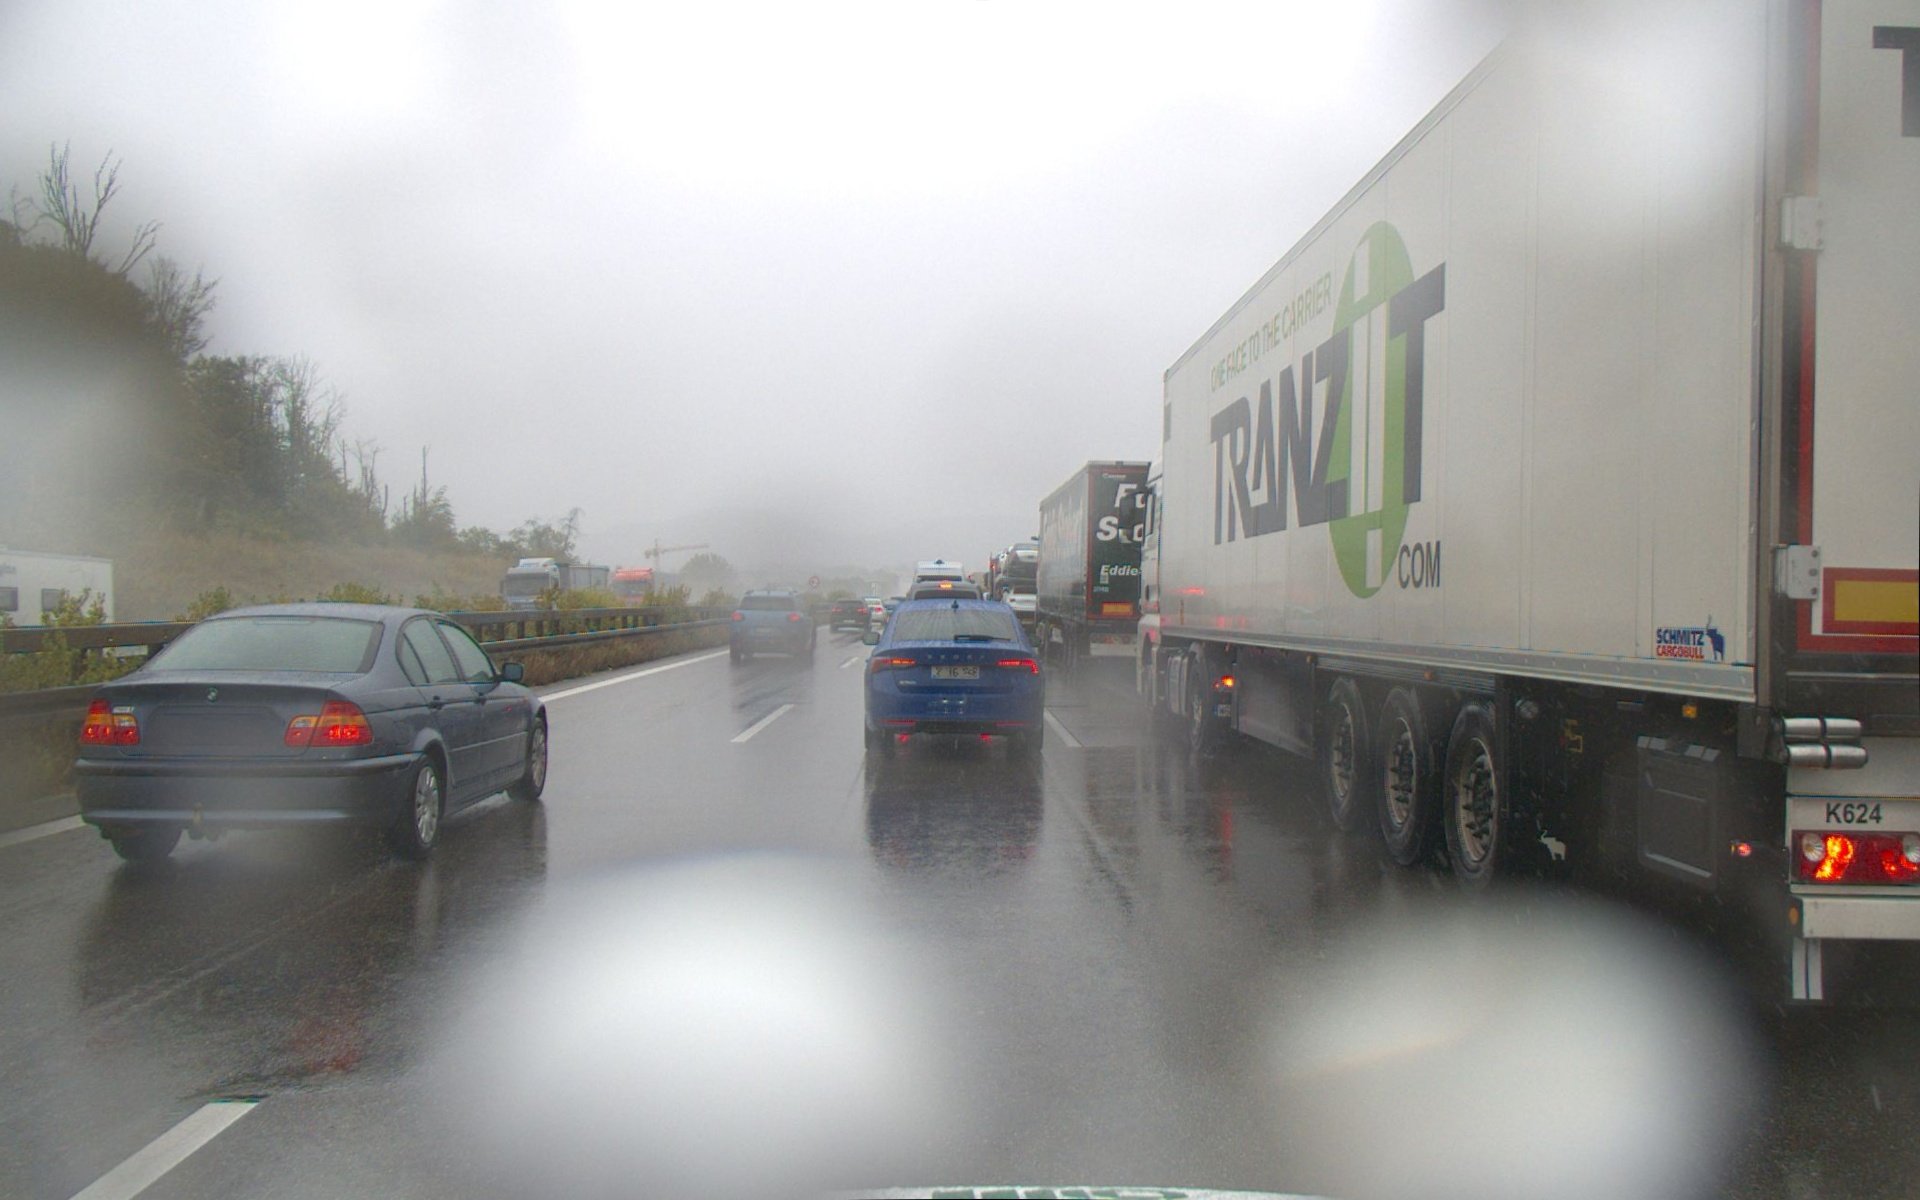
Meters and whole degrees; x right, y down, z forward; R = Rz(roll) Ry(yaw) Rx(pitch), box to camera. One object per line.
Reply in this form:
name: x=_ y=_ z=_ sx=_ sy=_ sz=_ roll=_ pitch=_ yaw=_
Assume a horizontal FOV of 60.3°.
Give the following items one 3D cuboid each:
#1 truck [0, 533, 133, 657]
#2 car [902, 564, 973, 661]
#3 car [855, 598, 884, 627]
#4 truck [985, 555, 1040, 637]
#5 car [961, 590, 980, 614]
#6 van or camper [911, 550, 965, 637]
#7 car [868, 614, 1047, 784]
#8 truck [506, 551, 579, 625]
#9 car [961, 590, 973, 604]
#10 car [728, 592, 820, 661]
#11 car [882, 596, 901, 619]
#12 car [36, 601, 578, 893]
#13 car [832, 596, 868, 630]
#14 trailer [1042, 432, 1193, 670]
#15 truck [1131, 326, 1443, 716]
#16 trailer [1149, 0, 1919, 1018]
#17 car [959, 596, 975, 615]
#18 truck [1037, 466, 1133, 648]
truck: x=-20.934 y=-0.119 z=35.503 sx=2.597 sy=2.524 sz=7.889 roll=1 pitch=0 yaw=-2
car: x=-0.438 y=0.220 z=32.472 sx=1.309 sy=1.811 sz=3.321 roll=0 pitch=0 yaw=-1
car: x=-4.907 y=0.660 z=90.190 sx=1.410 sy=1.560 sz=3.321 roll=0 pitch=0 yaw=-1
truck: x=2.293 y=-0.235 z=74.636 sx=1.953 sy=3.481 sz=8.029 roll=0 pitch=1 yaw=-2
car: x=0.788 y=0.140 z=126.375 sx=1.419 sy=1.815 sz=3.409 roll=1 pitch=0 yaw=-1
van or camper: x=-0.746 y=-0.230 z=56.417 sx=1.761 sy=2.855 sz=4.767 roll=0 pitch=0 yaw=-1
car: x=-0.021 y=0.907 z=16.839 sx=1.602 sy=1.470 sz=4.000 roll=0 pitch=0 yaw=0
truck: x=-21.359 y=-0.587 z=84.896 sx=2.632 sy=3.674 sz=4.604 roll=1 pitch=0 yaw=-2
car: x=0.924 y=-0.363 z=218.135 sx=1.419 sy=1.815 sz=3.409 roll=1 pitch=0 yaw=-1
car: x=-4.325 y=0.586 z=38.995 sx=1.686 sy=1.550 sz=4.000 roll=0 pitch=0 yaw=0
car: x=-5.499 y=0.596 z=133.471 sx=1.419 sy=1.815 sz=3.409 roll=1 pitch=0 yaw=-1
car: x=-3.726 y=0.732 z=10.322 sx=1.683 sy=1.424 sz=4.230 roll=0 pitch=0 yaw=0
car: x=-4.835 y=0.541 z=72.939 sx=1.410 sy=1.445 sz=3.321 roll=0 pitch=0 yaw=-1
trailer: x=3.107 y=-0.929 z=35.353 sx=2.005 sy=4.249 sz=11.446 roll=0 pitch=0 yaw=-1
truck: x=3.527 y=-0.808 z=18.979 sx=2.577 sy=3.894 sz=4.790 roll=0 pitch=0 yaw=-1
trailer: x=3.615 y=-0.850 z=12.289 sx=2.577 sy=4.083 sz=14.627 roll=0 pitch=0 yaw=-1
car: x=0.582 y=0.462 z=138.854 sx=1.223 sy=1.538 sz=3.107 roll=-1 pitch=1 yaw=-1
truck: x=3.042 y=-1.030 z=41.033 sx=2.005 sy=4.266 sz=3.999 roll=0 pitch=0 yaw=-1
